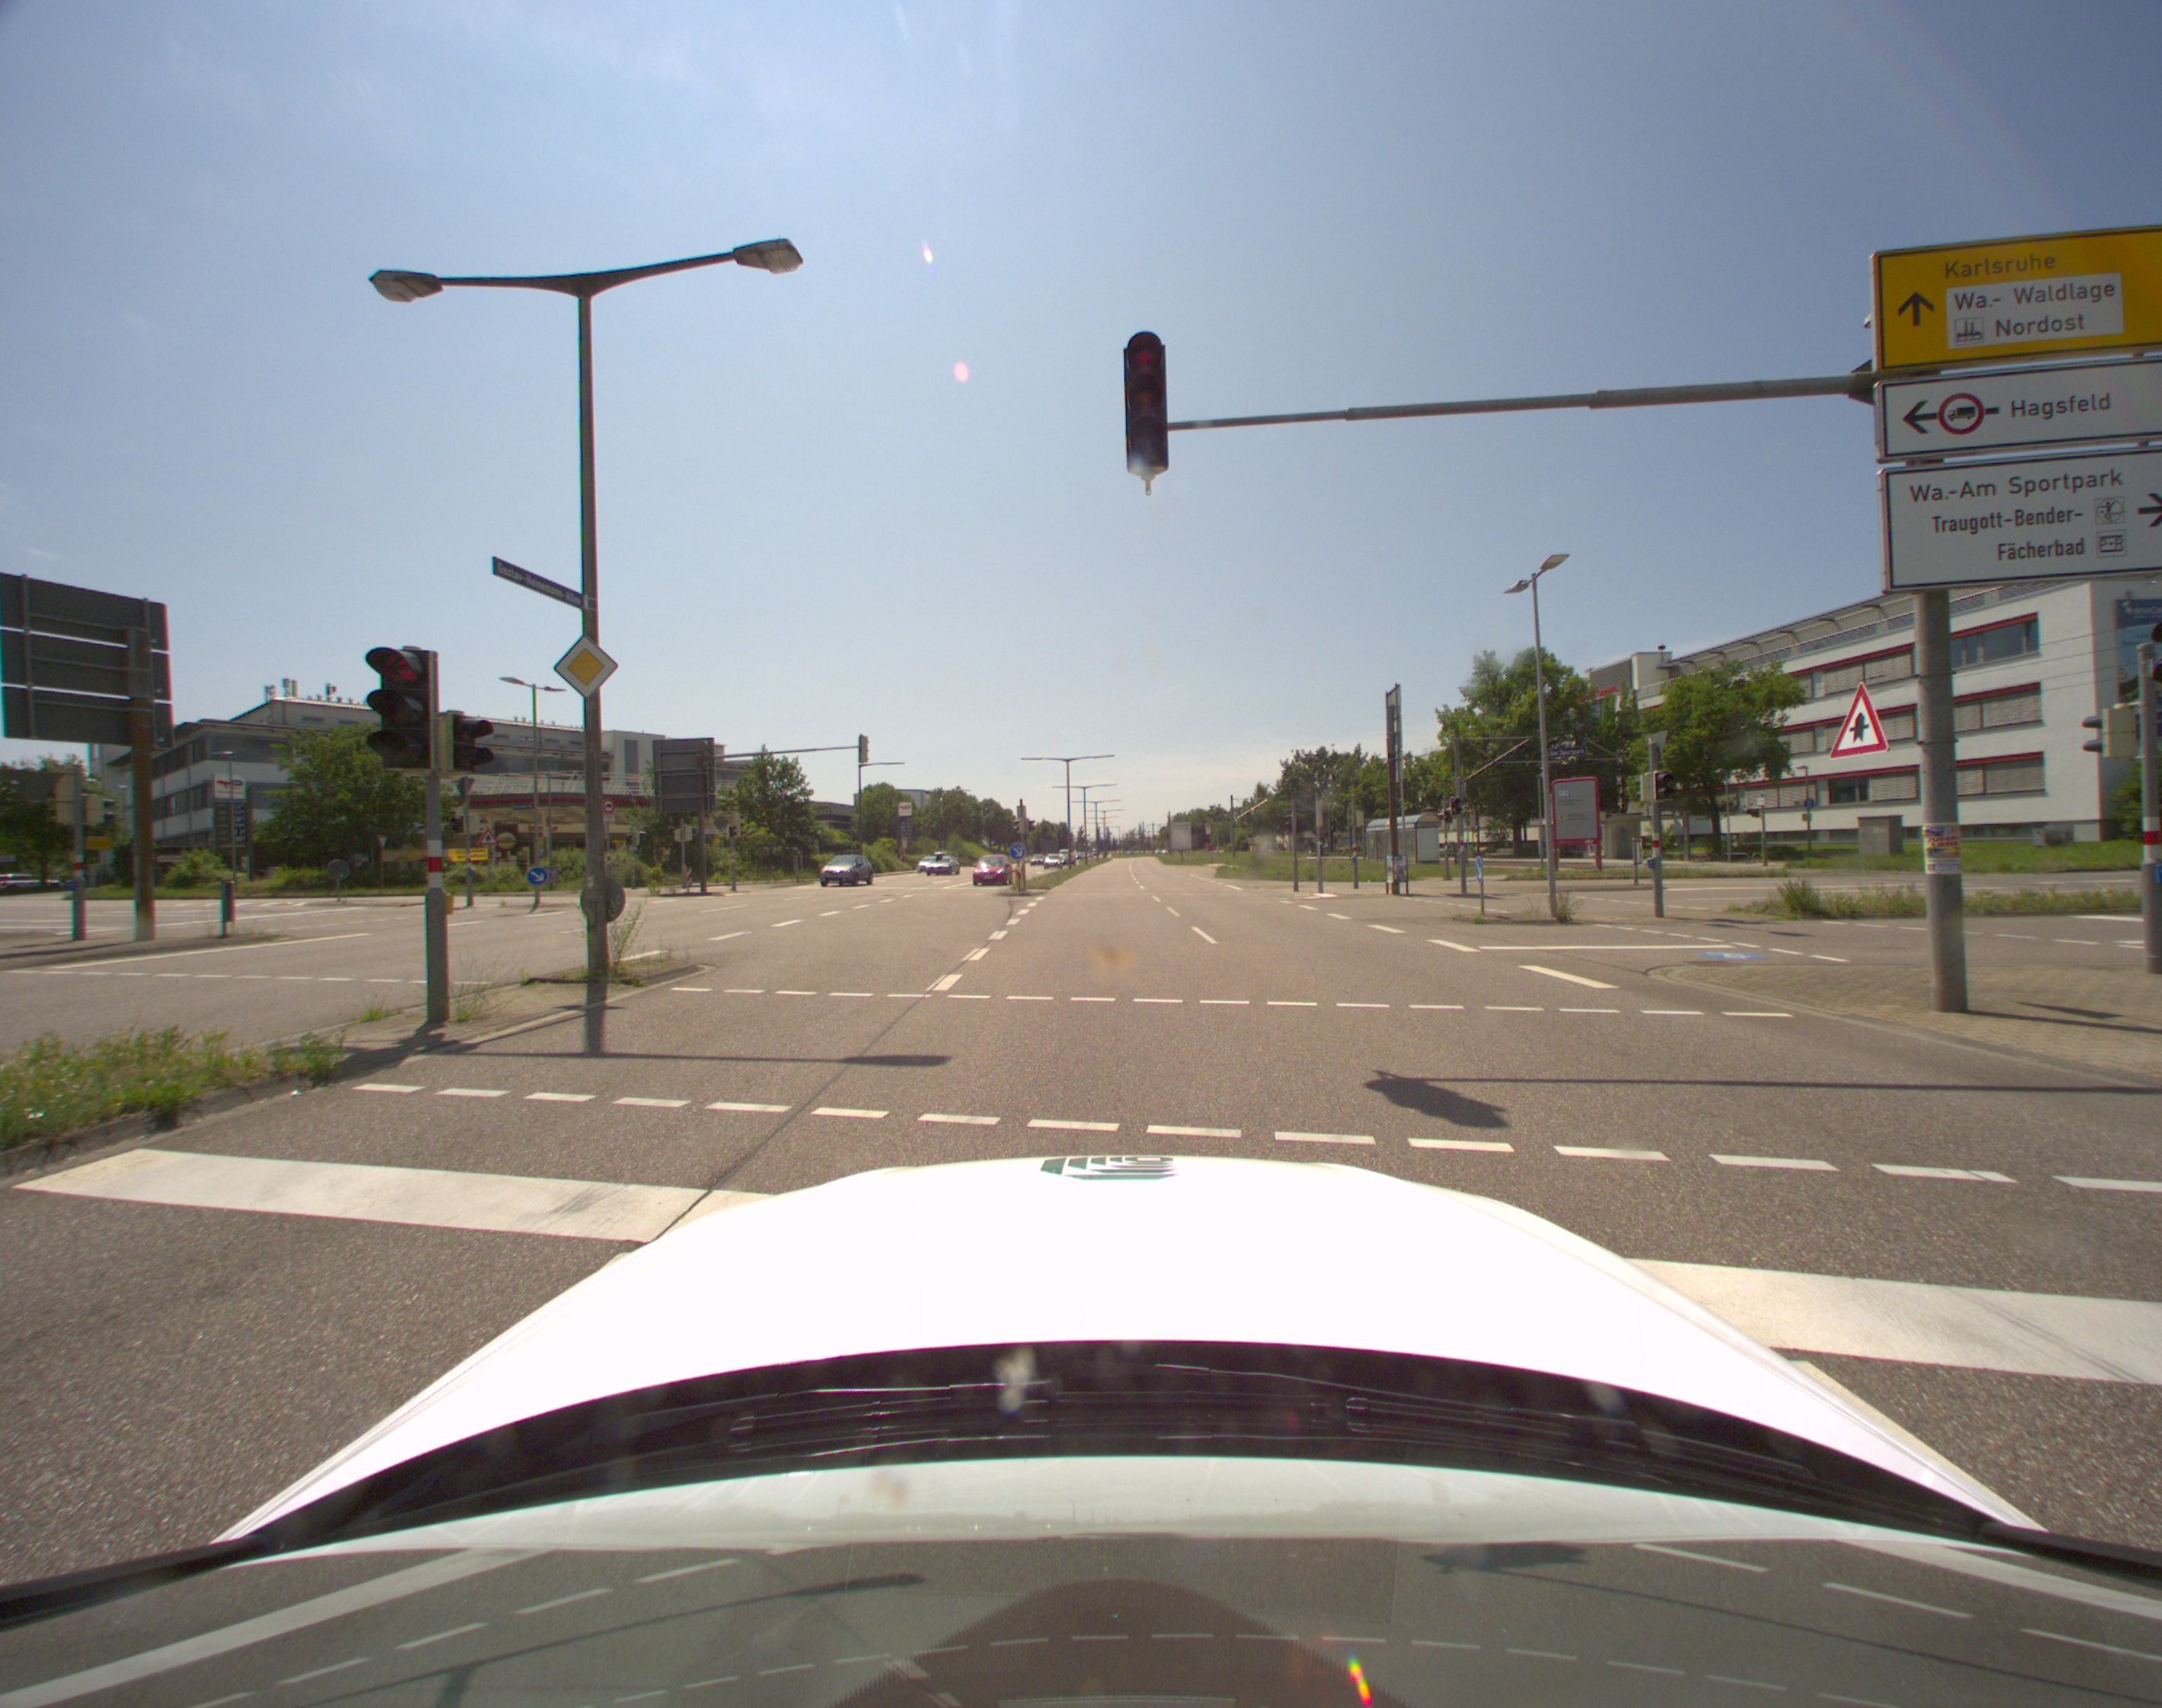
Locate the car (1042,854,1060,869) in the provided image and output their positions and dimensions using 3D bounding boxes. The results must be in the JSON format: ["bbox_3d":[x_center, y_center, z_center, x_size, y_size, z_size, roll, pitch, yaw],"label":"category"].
[{"bbox_3d":[-2.891,0.719,79.370,1.555,1.423,3.855,-1,1,1],"label":"car"}]

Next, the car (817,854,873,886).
[{"bbox_3d":[-11.992,0.778,41.635,1.652,1.539,4.001,-1,0,1],"label":"car"}]

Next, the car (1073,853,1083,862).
[{"bbox_3d":[-0.700,0.778,173.604,1.988,2.014,3.997,0,-1,-1],"label":"car"}]

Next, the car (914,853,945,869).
[{"bbox_3d":[-13.922,0.626,74.952,1.814,1.449,3.833,-1,0,5],"label":"car"}]

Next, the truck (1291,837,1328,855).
[{"bbox_3d":[41.188,-1.498,146.900,5.831,2.843,2.316,-3,-1,-5],"label":"truck"}]

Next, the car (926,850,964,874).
[{"bbox_3d":[-10.521,0.583,63.384,1.958,1.750,5.023,-2,0,1],"label":"car"}]

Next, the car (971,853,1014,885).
[{"bbox_3d":[-4.450,0.738,41.528,1.652,1.490,4.001,-2,0,1],"label":"car"}]

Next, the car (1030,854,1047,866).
[{"bbox_3d":[-5.304,0.770,102.032,1.631,1.429,4.054,-2,0,2],"label":"car"}]

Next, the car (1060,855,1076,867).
[{"bbox_3d":[-1.533,0.821,96.505,1.669,1.434,4.192,-1,0,2],"label":"car"}]

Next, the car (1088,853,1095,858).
[{"bbox_3d":[3.209,0.551,243.530,1.722,1.458,4.571,-2,0,5],"label":"car"}]
